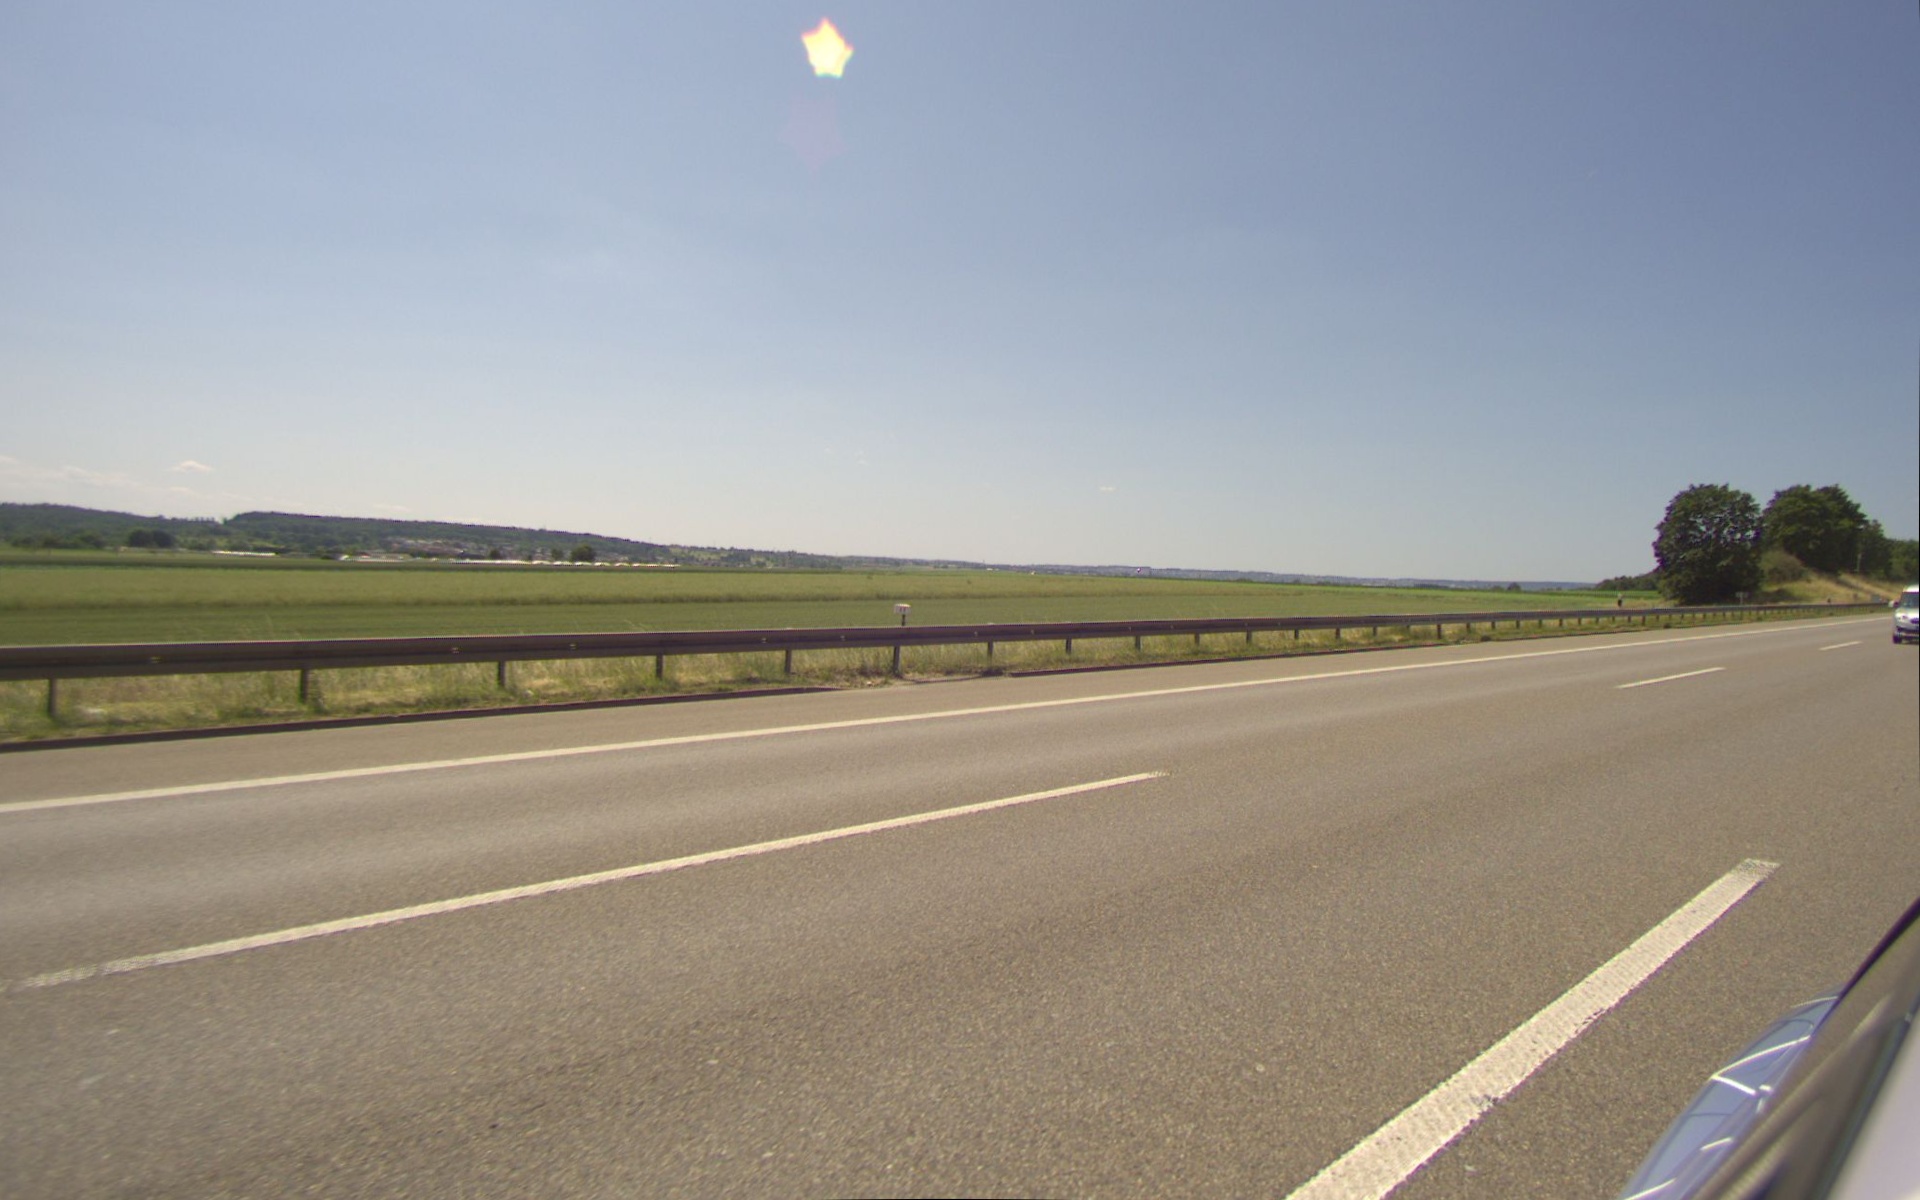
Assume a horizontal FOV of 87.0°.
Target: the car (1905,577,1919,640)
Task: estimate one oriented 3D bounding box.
[{"bbox_3d":[30.890,0.249,31.463,5.222,1.870,1.809,0,1,-43],"label":"car"}]
